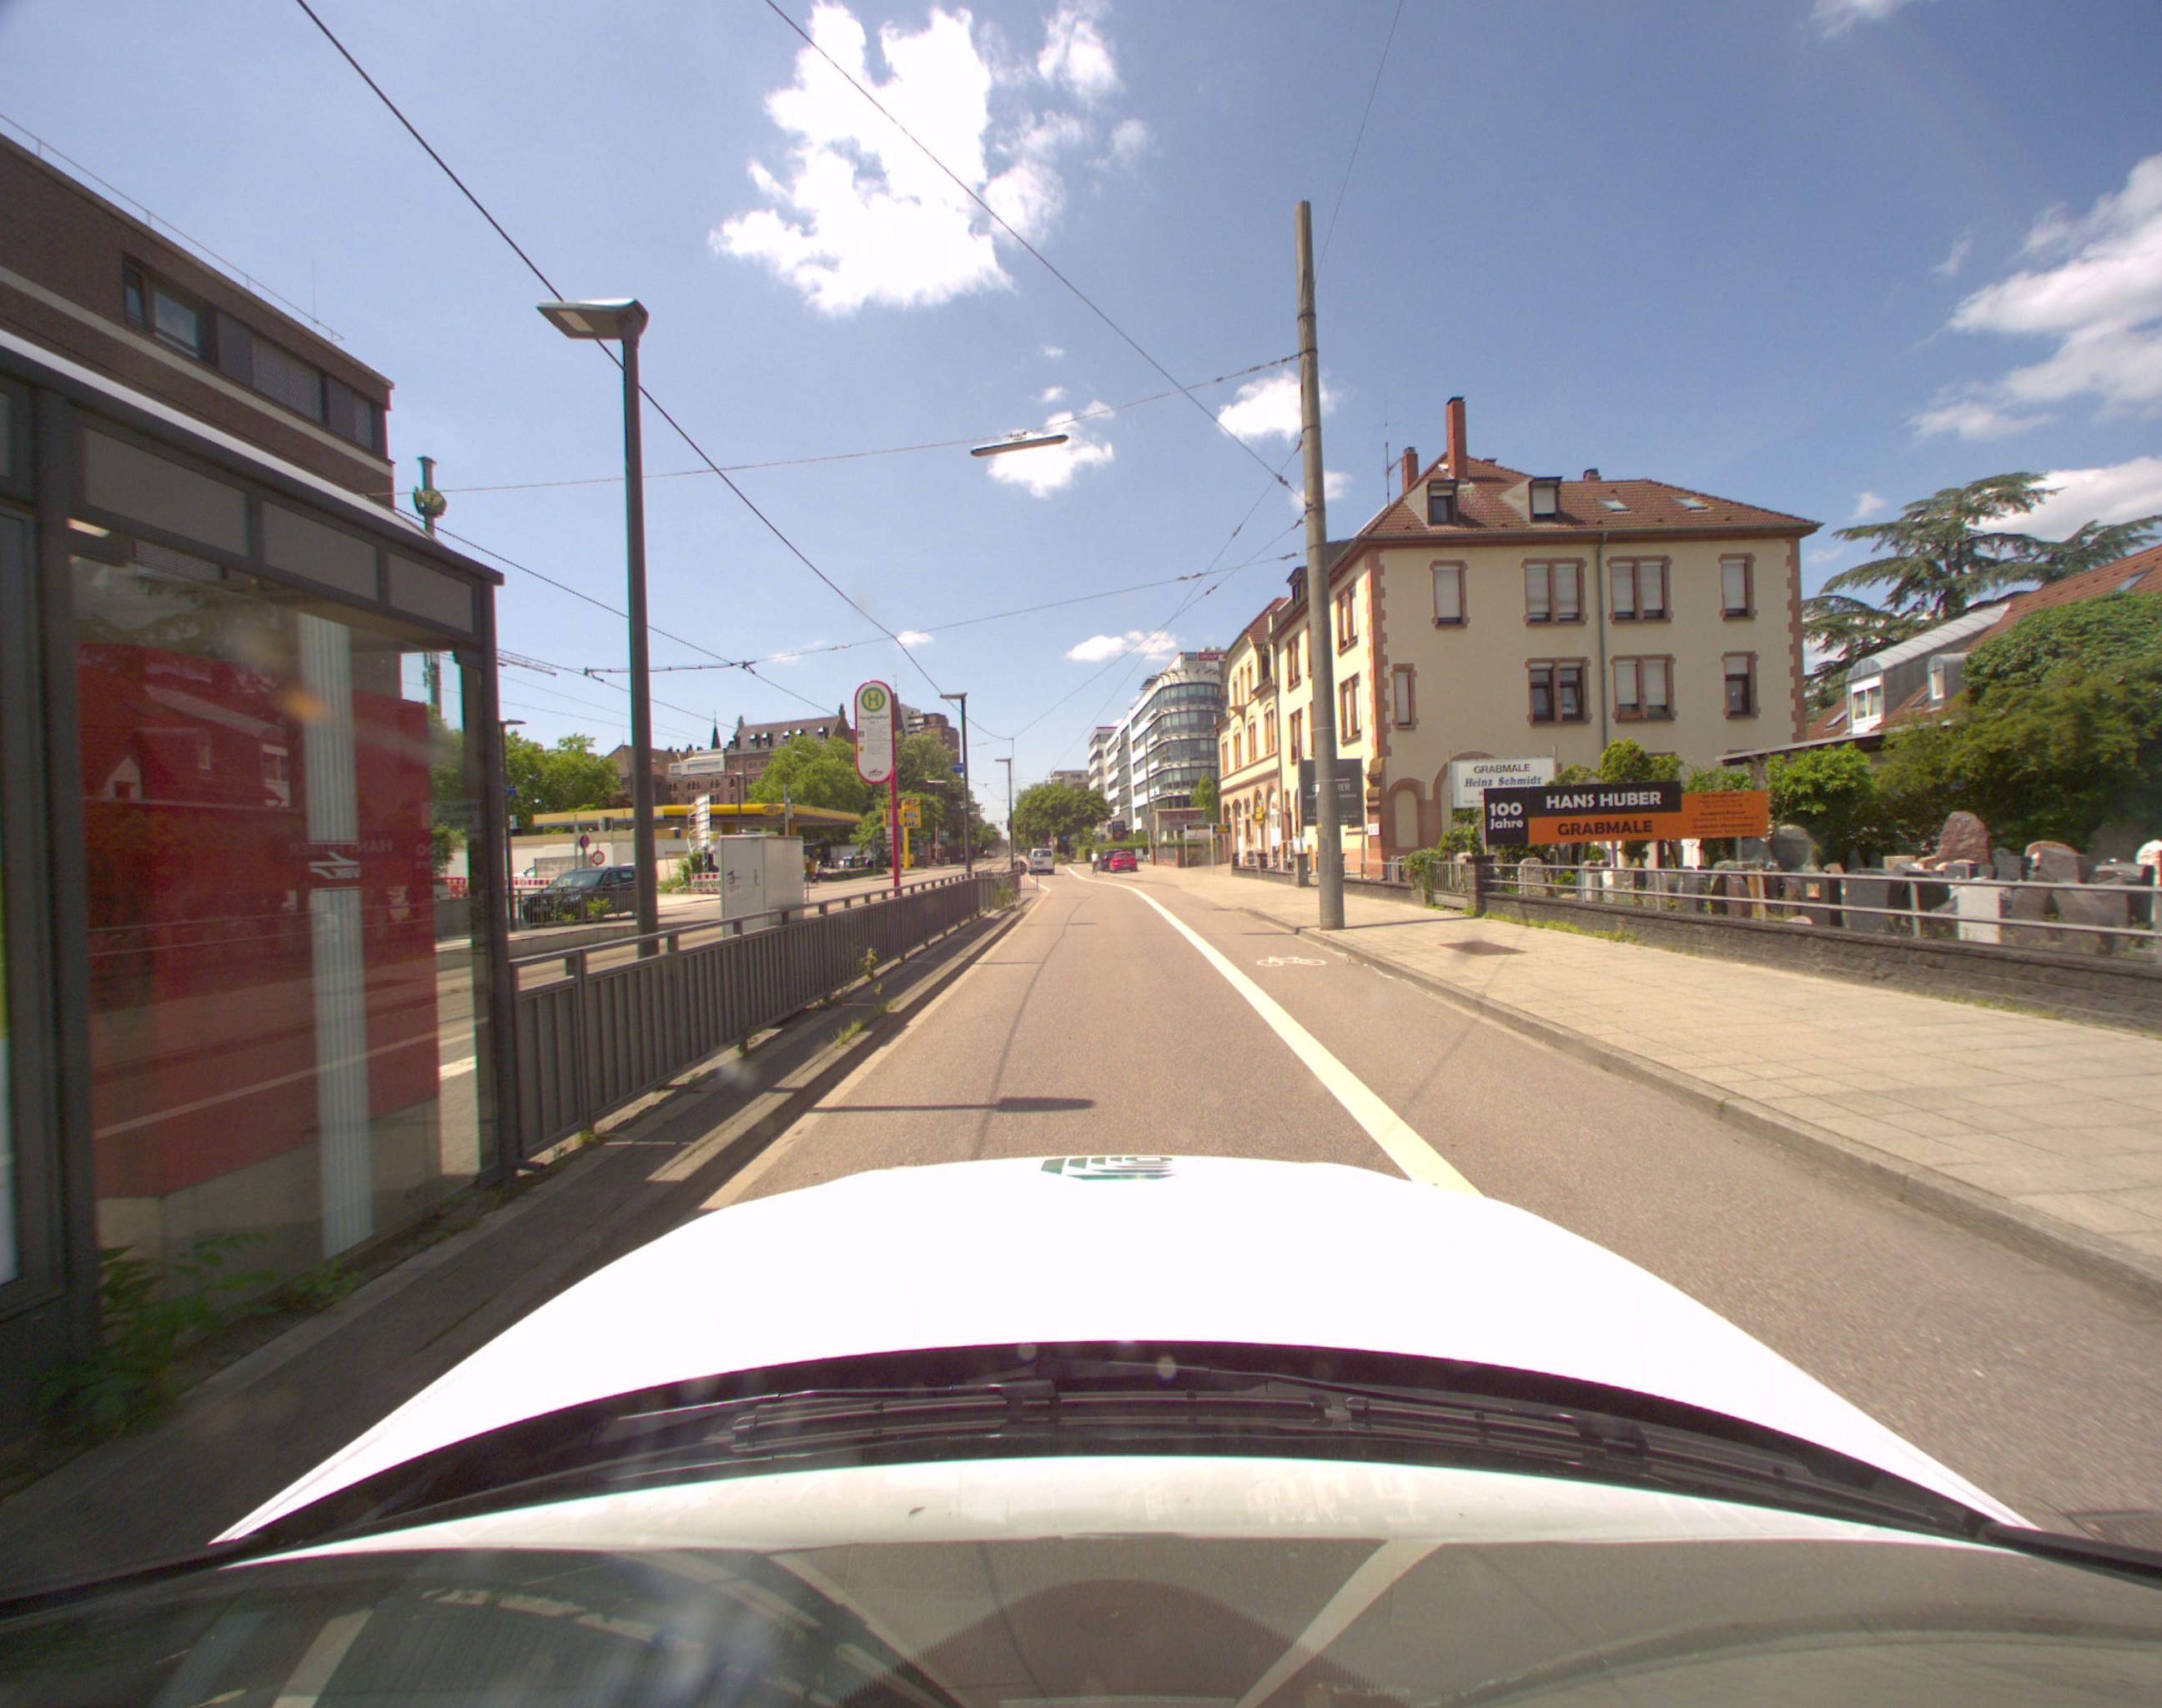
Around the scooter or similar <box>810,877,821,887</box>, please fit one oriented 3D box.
[{"bbox_3d":[-17.829,1.878,54.634,0.474,0.581,0.632,-2,0,6],"label":"scooter or similar"}]

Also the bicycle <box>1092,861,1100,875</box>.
[{"bbox_3d":[0.962,0.898,52.529,0.464,0.887,2.048,-2,1,0],"label":"bicycle"}]

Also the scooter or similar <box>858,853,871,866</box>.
[{"bbox_3d":[-26.190,0.675,98.488,1.168,1.466,1.059,-2,-1,0],"label":"scooter or similar"}]

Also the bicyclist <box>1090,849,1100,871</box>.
[{"bbox_3d":[0.917,0.383,52.508,0.589,1.397,0.841,-2,0,-1],"label":"bicyclist"}]

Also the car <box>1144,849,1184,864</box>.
[{"bbox_3d":[8.382,0.273,82.762,3.792,1.275,1.553,-3,1,-5],"label":"car"}]

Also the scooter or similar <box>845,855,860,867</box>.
[{"bbox_3d":[-27.729,0.844,98.839,1.307,1.466,1.061,-2,-1,6],"label":"scooter or similar"}]

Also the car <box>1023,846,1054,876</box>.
[{"bbox_3d":[-3.074,0.467,58.159,1.752,2.013,3.987,-3,1,-9],"label":"car"}]

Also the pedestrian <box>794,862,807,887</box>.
[{"bbox_3d":[-18.585,1.346,53.924,0.550,1.658,0.673,-2,0,2],"label":"pedestrian"}]

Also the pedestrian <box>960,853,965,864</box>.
[{"bbox_3d":[-22.561,0.775,154.839,0.863,2.013,0.645,-4,-1,-8],"label":"pedestrian"}]

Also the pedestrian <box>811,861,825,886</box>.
[{"bbox_3d":[-17.394,1.288,53.888,0.578,1.671,0.668,-2,0,3],"label":"pedestrian"}]

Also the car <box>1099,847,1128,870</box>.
[{"bbox_3d":[2.566,0.338,64.551,1.858,1.687,4.997,-3,1,-2],"label":"car"}]

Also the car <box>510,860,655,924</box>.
[{"bbox_3d":[-14.621,1.056,24.160,1.830,1.627,3.772,-4,0,1],"label":"car"}]

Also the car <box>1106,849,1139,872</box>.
[{"bbox_3d":[2.939,0.430,58.406,1.709,1.452,4.066,-4,1,-4],"label":"car"}]
